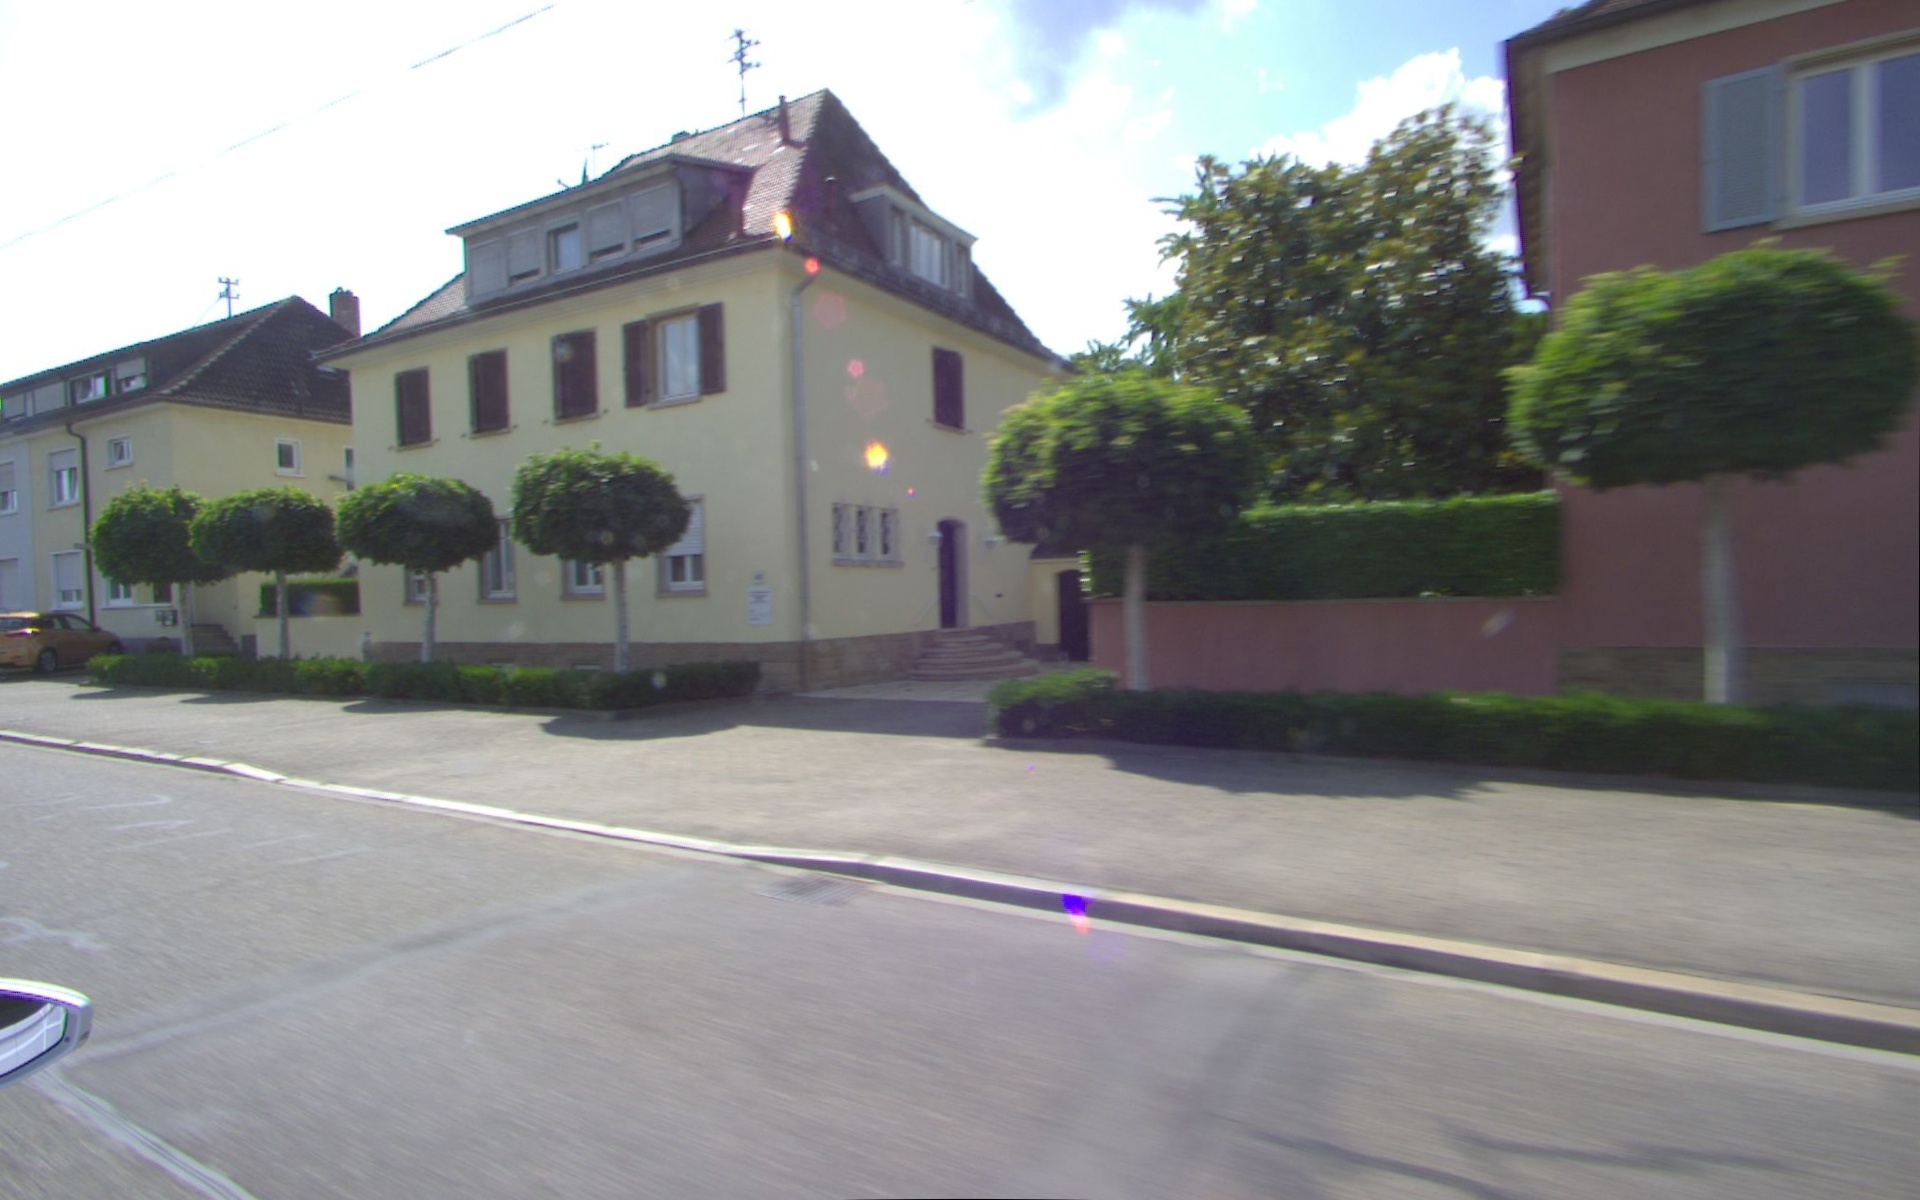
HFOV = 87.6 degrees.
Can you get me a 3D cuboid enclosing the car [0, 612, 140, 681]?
[{"bbox_3d":[-22.698,1.099,24.893,1.880,1.478,4.087,0,1,-12],"label":"car"}]
